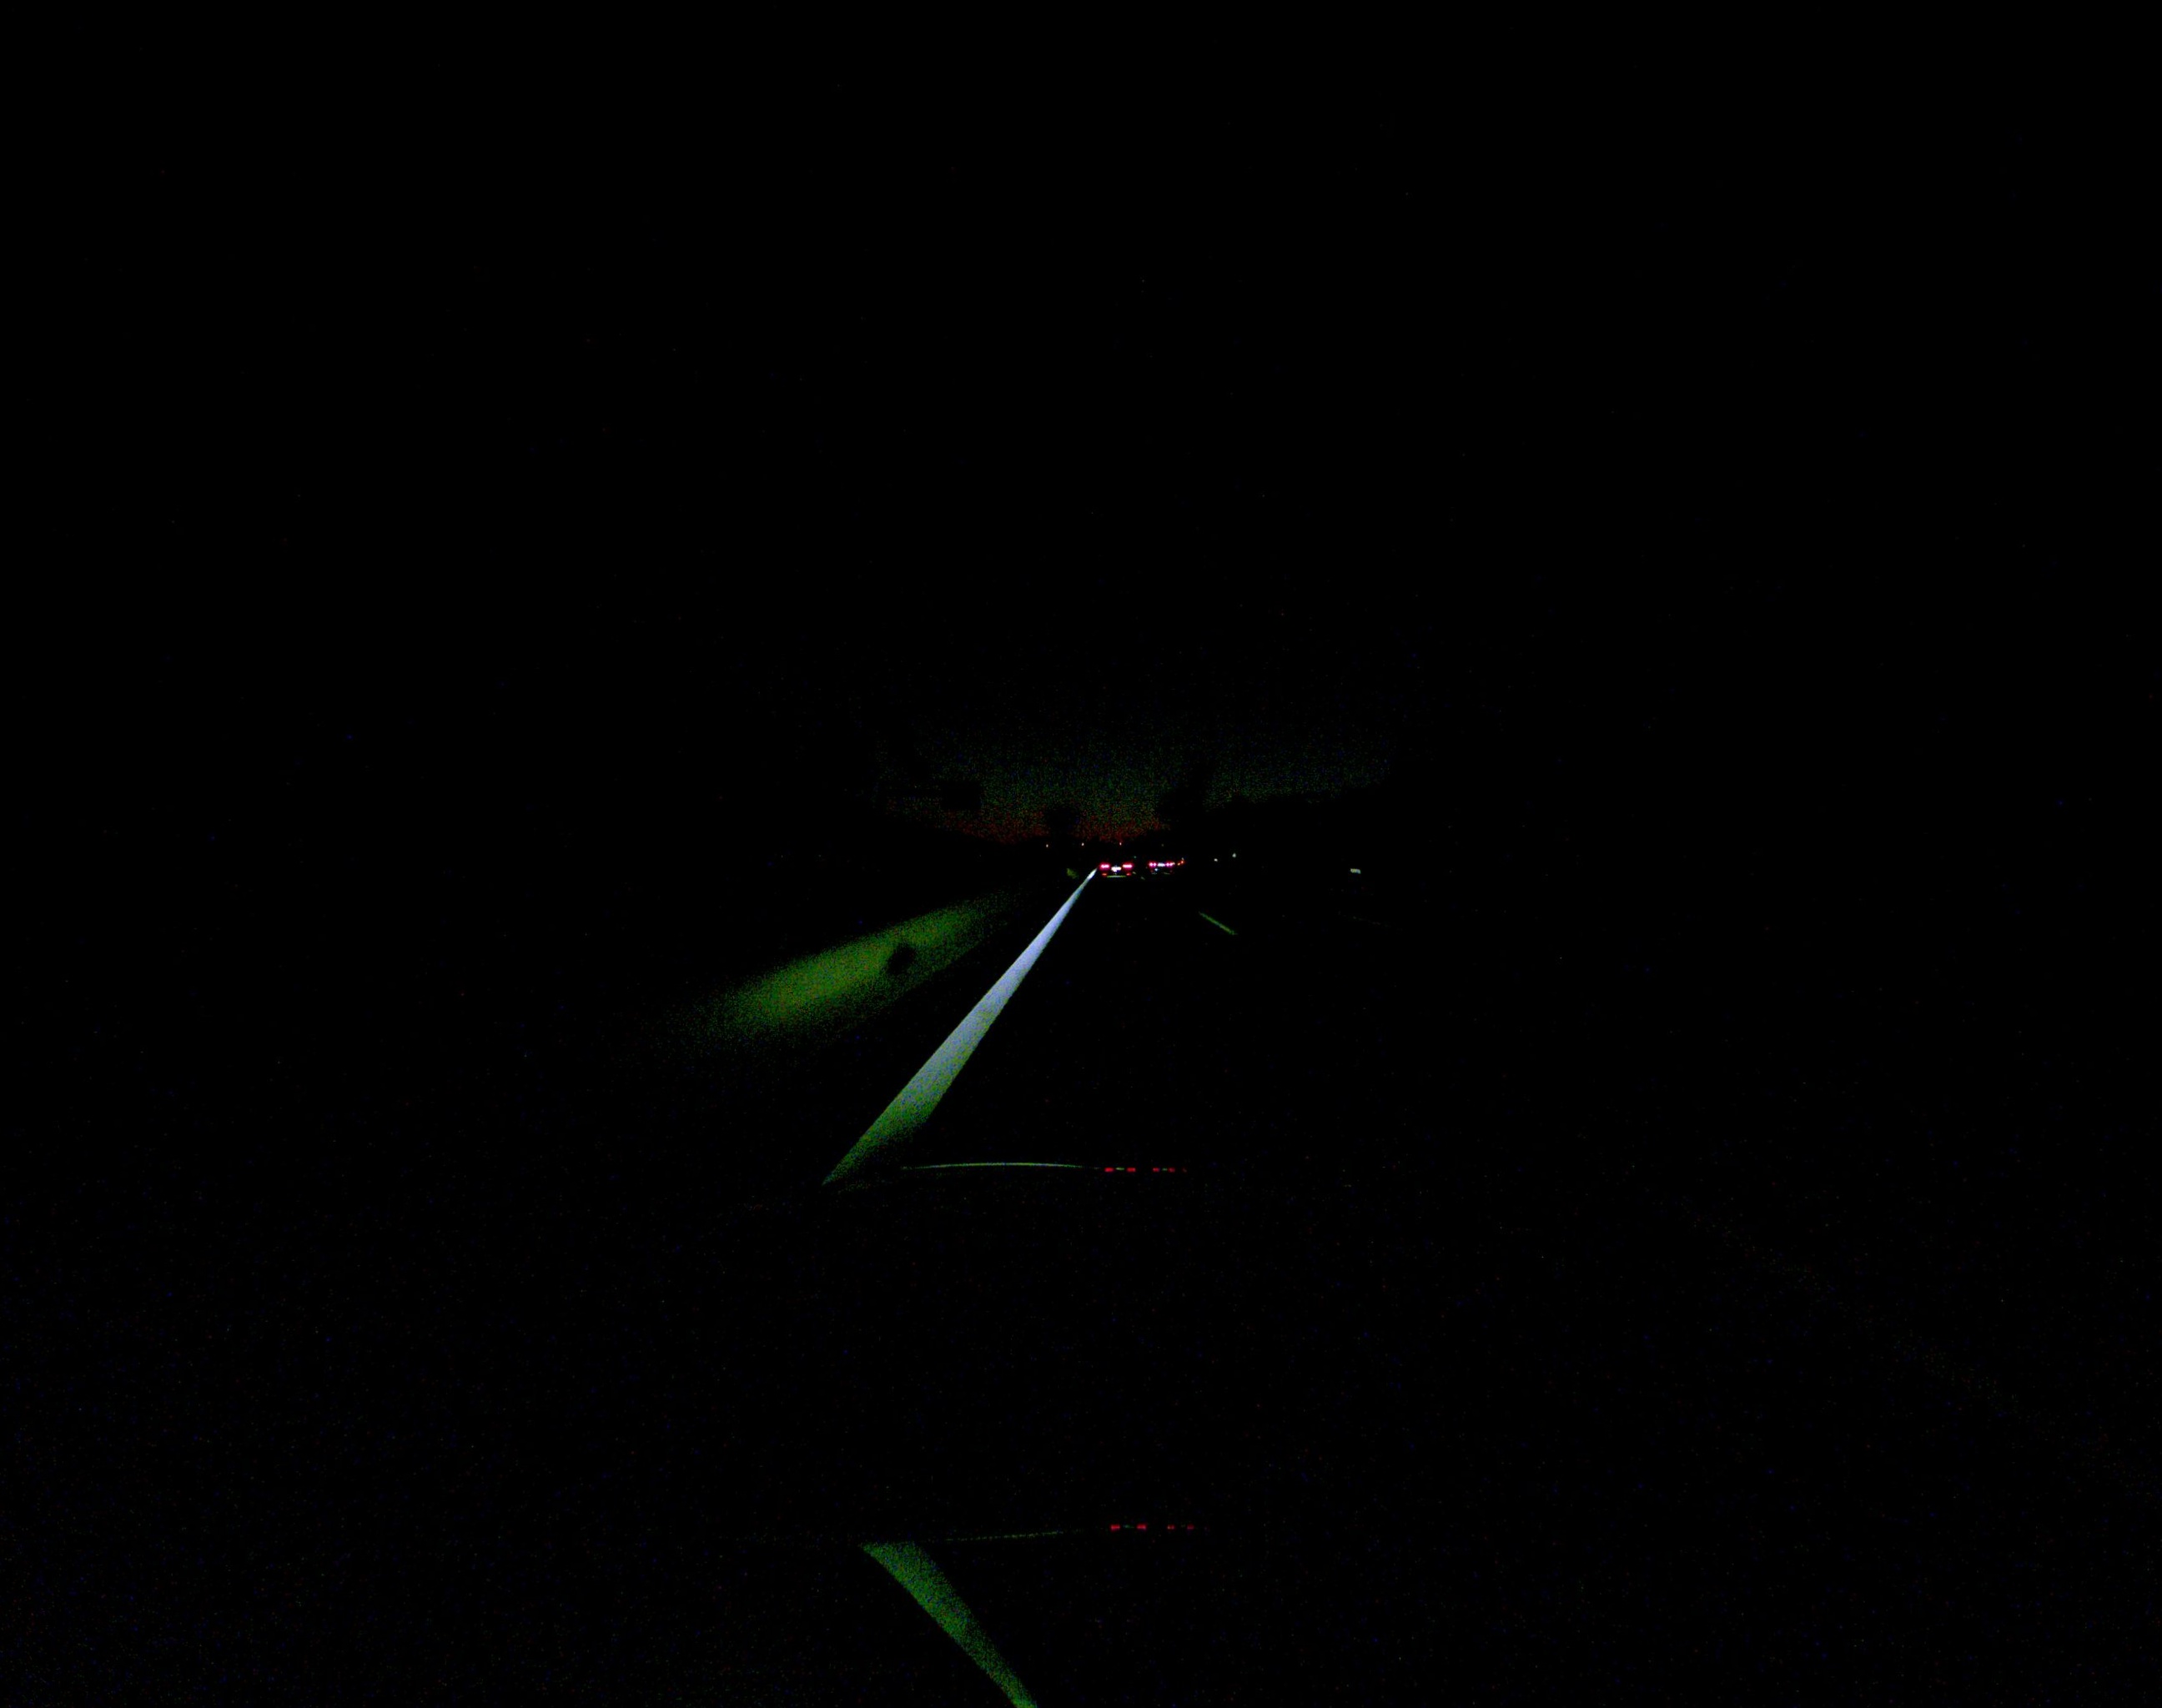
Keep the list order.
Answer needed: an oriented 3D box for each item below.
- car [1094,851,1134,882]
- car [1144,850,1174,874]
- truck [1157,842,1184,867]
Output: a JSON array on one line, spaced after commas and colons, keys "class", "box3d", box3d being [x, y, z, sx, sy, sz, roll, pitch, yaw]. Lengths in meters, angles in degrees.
[{"class": "car", "box3d": [1.788, 0.696, 45.586, 2.099, 1.618, 4.204, 1, 0, 0]}, {"class": "car", "box3d": [5.810, 0.567, 60.968, 1.905, 1.730, 3.999, 0, 0, 0]}, {"class": "truck", "box3d": [11.382, 0.053, 104.206, 2.594, 2.875, 7.487, 5, 0, 1]}]
